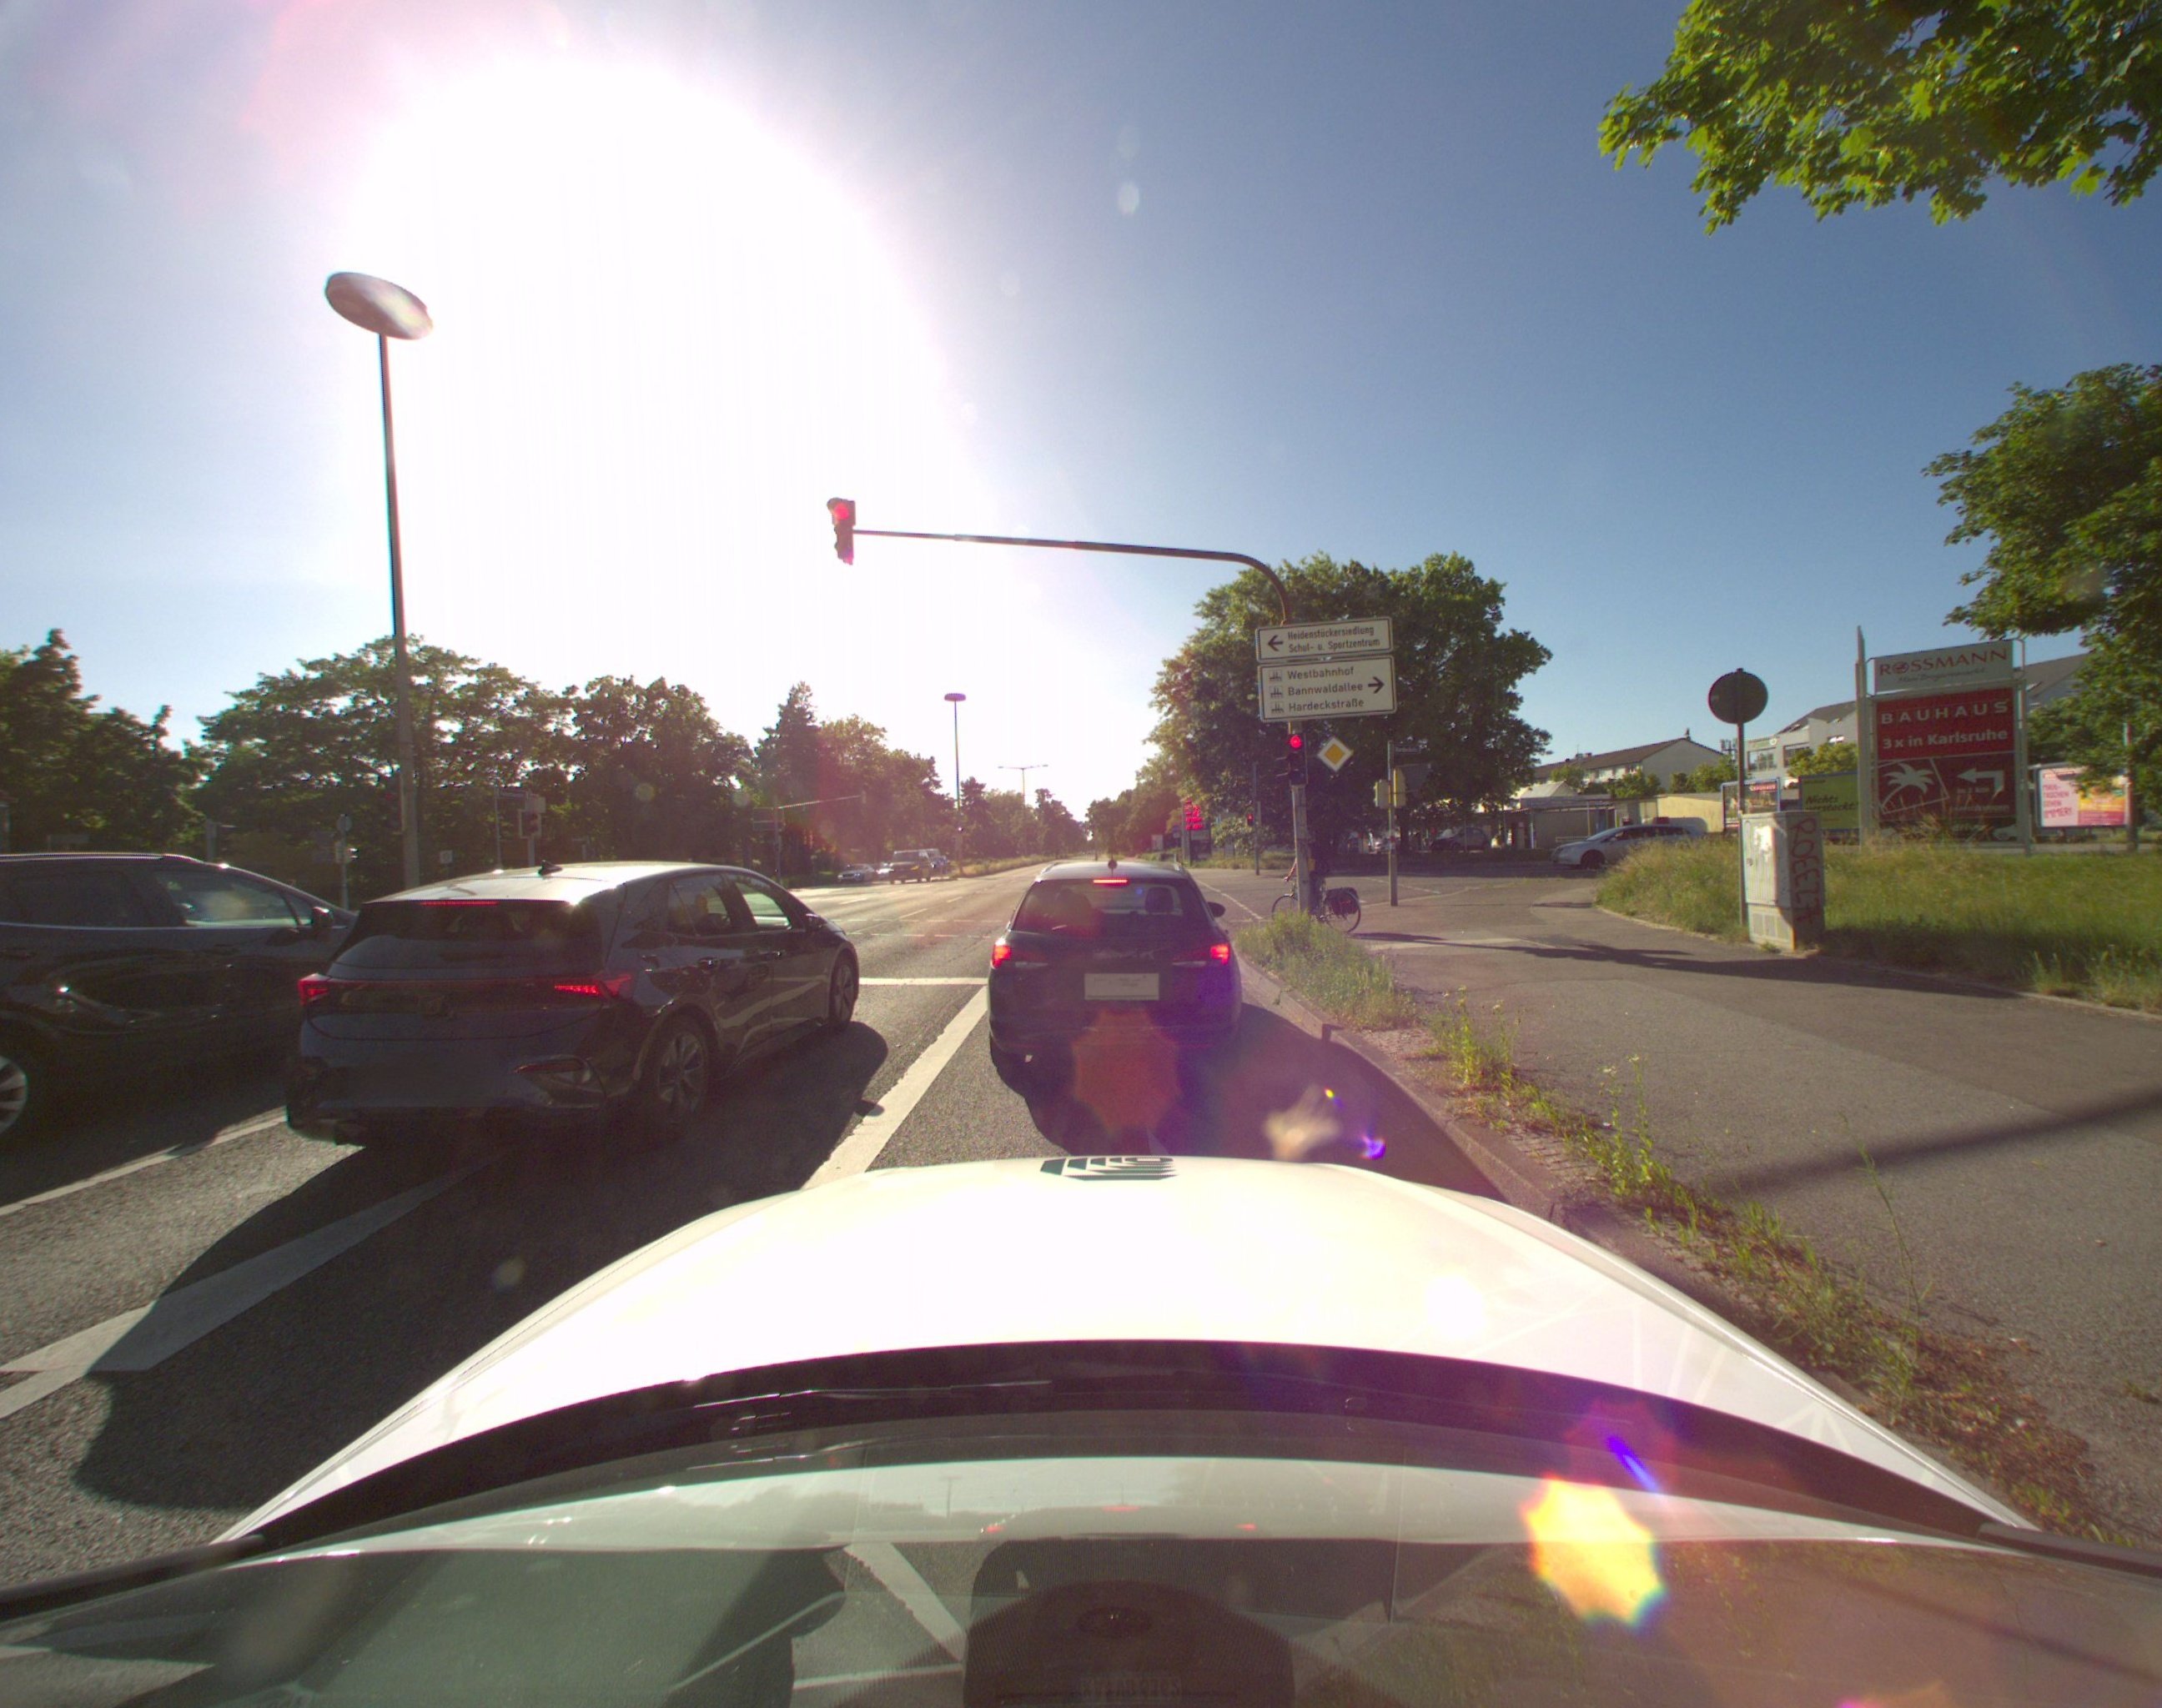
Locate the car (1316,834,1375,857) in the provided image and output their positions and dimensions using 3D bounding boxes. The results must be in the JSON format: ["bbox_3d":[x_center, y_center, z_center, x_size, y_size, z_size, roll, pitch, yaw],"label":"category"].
[{"bbox_3d":[19.329,-0.619,59.530,3.903,1.517,1.733,-3,0,-21],"label":"car"}]

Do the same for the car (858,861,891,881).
[{"bbox_3d":[-17.503,1.447,69.113,1.681,1.509,4.003,-3,0,0],"label":"car"}]

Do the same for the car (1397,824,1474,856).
[{"bbox_3d":[21.485,-0.831,49.413,4.003,1.750,1.985,-2,0,-22],"label":"car"}]

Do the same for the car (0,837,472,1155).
[{"bbox_3d":[-6.618,0.789,5.523,1.798,1.689,4.002,-3,0,2],"label":"car"}]

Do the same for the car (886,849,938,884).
[{"bbox_3d":[-10.268,0.716,49.773,1.904,1.992,5.017,-3,0,2],"label":"car"}]

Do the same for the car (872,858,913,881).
[{"bbox_3d":[-14.122,1.165,61.251,1.881,1.524,4.506,-3,0,2],"label":"car"}]

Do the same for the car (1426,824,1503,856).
[{"bbox_3d":[22.379,-0.818,47.530,4.002,1.680,1.733,-3,0,-21],"label":"car"}]

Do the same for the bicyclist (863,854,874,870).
[{"bbox_3d":[-23.062,0.874,88.477,0.873,1.648,1.199,-3,0,-2],"label":"bicyclist"}]

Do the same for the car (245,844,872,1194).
[{"bbox_3d":[-2.958,0.774,5.860,1.678,1.580,4.208,-1,0,2],"label":"car"}]

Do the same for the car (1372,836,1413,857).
[{"bbox_3d":[27.077,-0.662,70.741,4.023,1.680,1.724,-3,0,-44],"label":"car"}]

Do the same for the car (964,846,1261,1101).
[{"bbox_3d":[0.251,0.727,6.969,1.750,1.495,4.208,-1,0,2],"label":"car"}]

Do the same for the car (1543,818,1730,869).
[{"bbox_3d":[19.160,-0.349,28.343,4.969,1.486,2.007,-2,0,13],"label":"car"}]

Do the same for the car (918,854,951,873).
[{"bbox_3d":[-13.644,0.865,76.012,1.986,1.601,4.617,-3,0,2],"label":"car"}]

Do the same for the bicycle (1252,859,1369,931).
[{"bbox_3d":[3.733,0.688,13.377,0.541,1.097,1.755,-3,-2,-42],"label":"bicycle"}]

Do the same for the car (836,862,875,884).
[{"bbox_3d":[-17.240,1.401,62.408,1.680,1.509,4.005,-3,0,2],"label":"car"}]

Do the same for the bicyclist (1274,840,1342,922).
[{"bbox_3d":[3.720,0.446,13.380,0.541,1.277,0.819,-3,-2,-42],"label":"bicyclist"}]

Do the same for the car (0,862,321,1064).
[{"bbox_3d":[-10.222,0.989,7.926,1.824,1.702,3.999,-3,0,0],"label":"car"}]

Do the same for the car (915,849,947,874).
[{"bbox_3d":[-16.381,0.787,89.453,2.092,2.492,6.006,-3,0,2],"label":"car"}]

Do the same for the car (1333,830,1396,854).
[{"bbox_3d":[19.664,-0.826,56.438,3.903,1.517,1.733,-3,0,-21],"label":"car"}]
